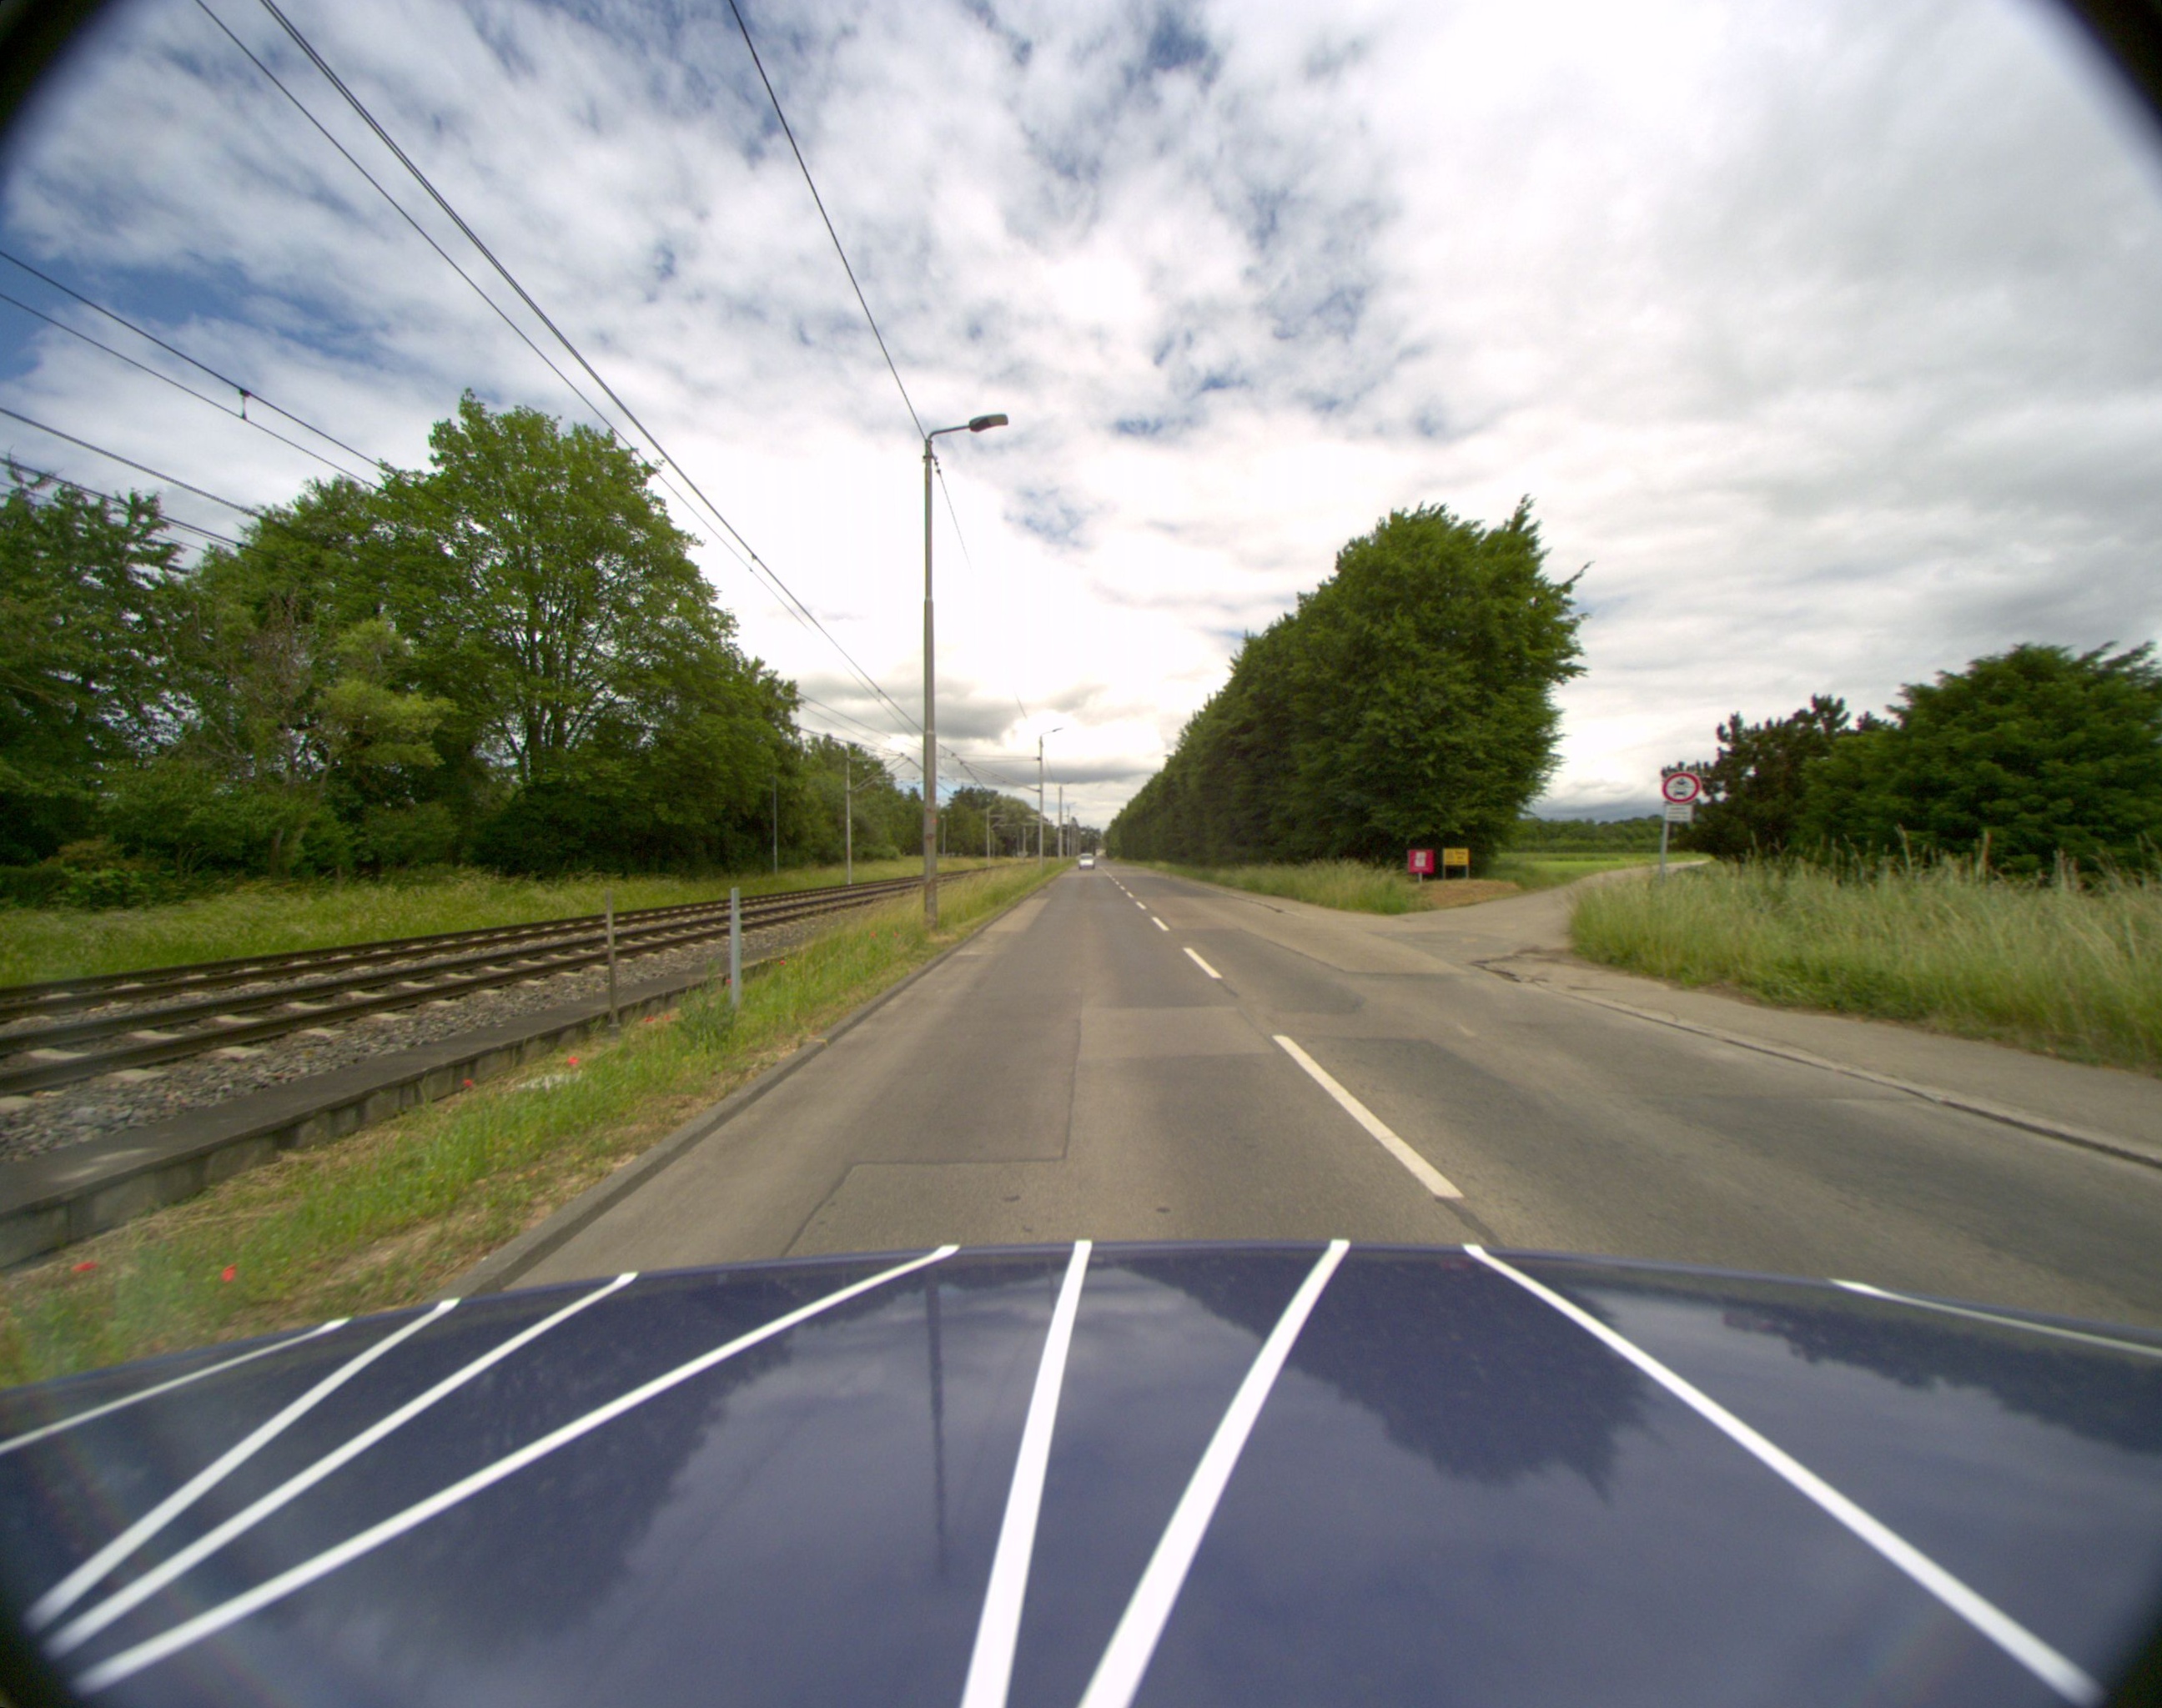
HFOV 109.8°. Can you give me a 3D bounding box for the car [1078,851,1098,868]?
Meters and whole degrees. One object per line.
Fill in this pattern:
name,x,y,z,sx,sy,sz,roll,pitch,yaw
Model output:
car,0.720,0.577,81.258,1.999,1.679,3.999,0,0,-1
